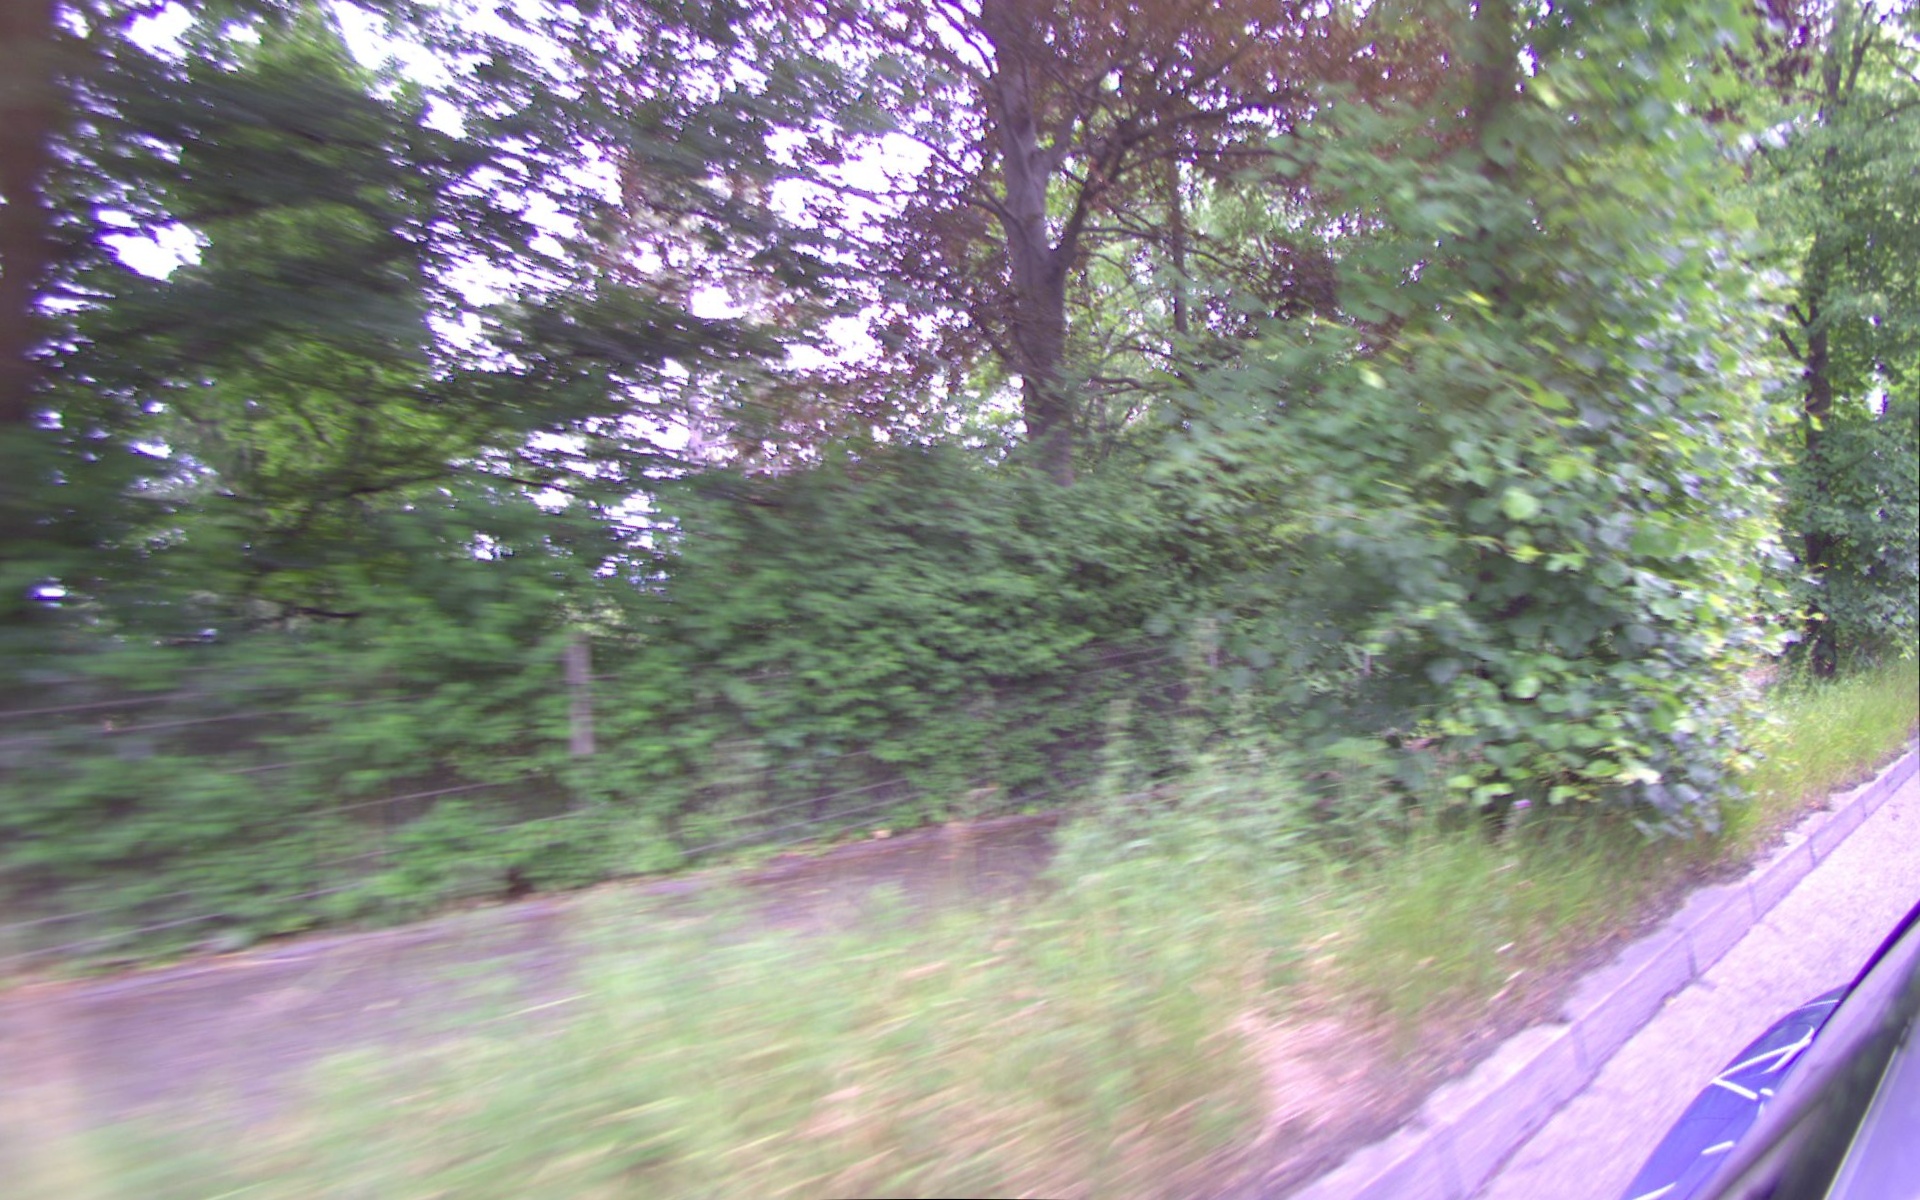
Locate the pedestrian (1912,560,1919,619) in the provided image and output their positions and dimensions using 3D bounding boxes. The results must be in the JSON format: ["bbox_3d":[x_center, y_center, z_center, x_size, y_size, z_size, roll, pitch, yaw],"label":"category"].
[{"bbox_3d":[29.441,-0.331,30.847,0.516,1.776,0.519,-1,-2,-44],"label":"pedestrian"}]
